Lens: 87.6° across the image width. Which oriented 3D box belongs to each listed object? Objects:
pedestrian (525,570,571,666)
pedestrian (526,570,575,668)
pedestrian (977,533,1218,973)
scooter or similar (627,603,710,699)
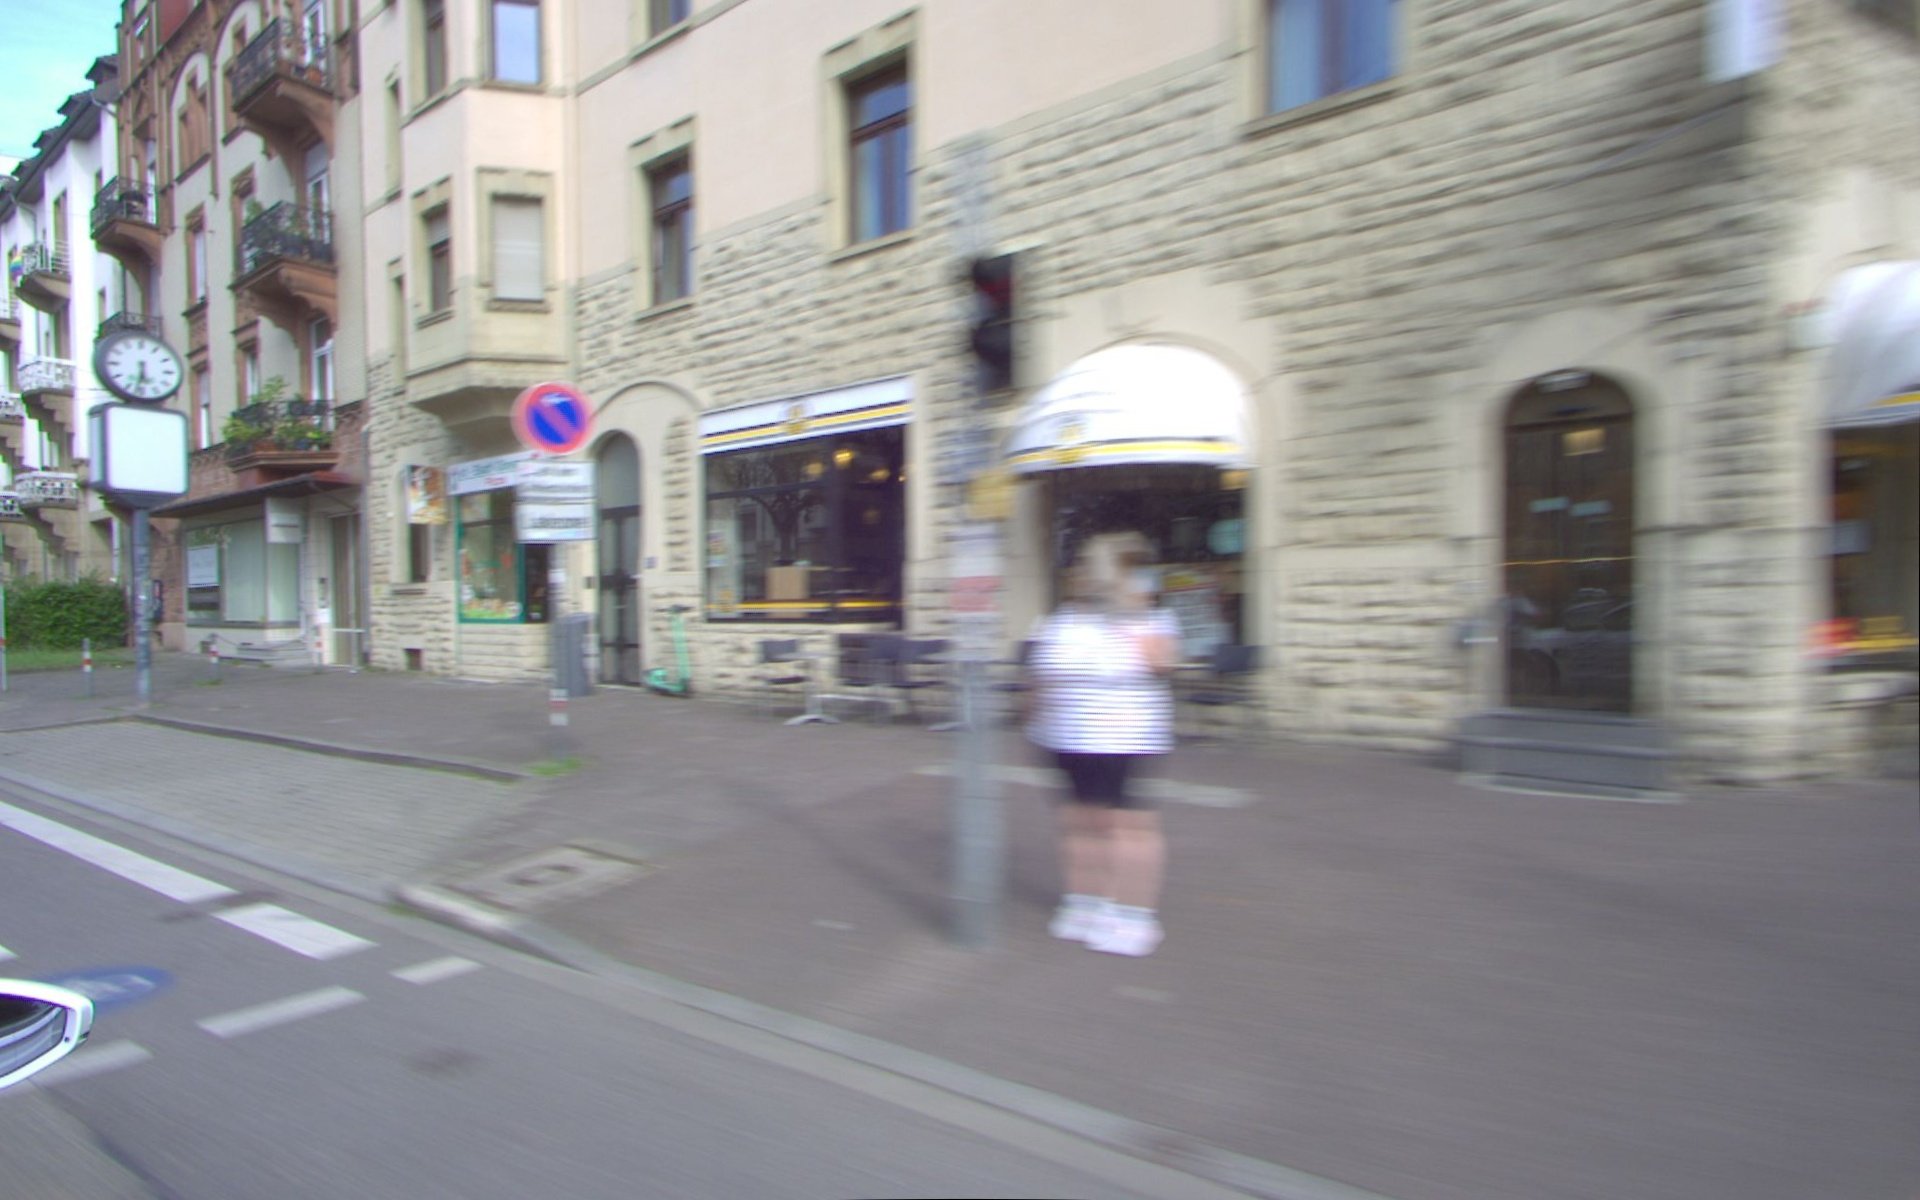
[{"bbox_3d":[-7.064,0.301,17.174,0.501,1.602,0.557,1,1,37],"label":"pedestrian"},{"bbox_3d":[-6.801,0.306,16.628,0.554,1.602,0.547,1,1,37],"label":"pedestrian"},{"bbox_3d":[0.610,0.576,4.310,0.749,1.684,0.716,0,5,34],"label":"pedestrian"},{"bbox_3d":[-3.807,0.637,13.049,1.181,1.184,0.395,1,3,38],"label":"scooter or similar"}]
